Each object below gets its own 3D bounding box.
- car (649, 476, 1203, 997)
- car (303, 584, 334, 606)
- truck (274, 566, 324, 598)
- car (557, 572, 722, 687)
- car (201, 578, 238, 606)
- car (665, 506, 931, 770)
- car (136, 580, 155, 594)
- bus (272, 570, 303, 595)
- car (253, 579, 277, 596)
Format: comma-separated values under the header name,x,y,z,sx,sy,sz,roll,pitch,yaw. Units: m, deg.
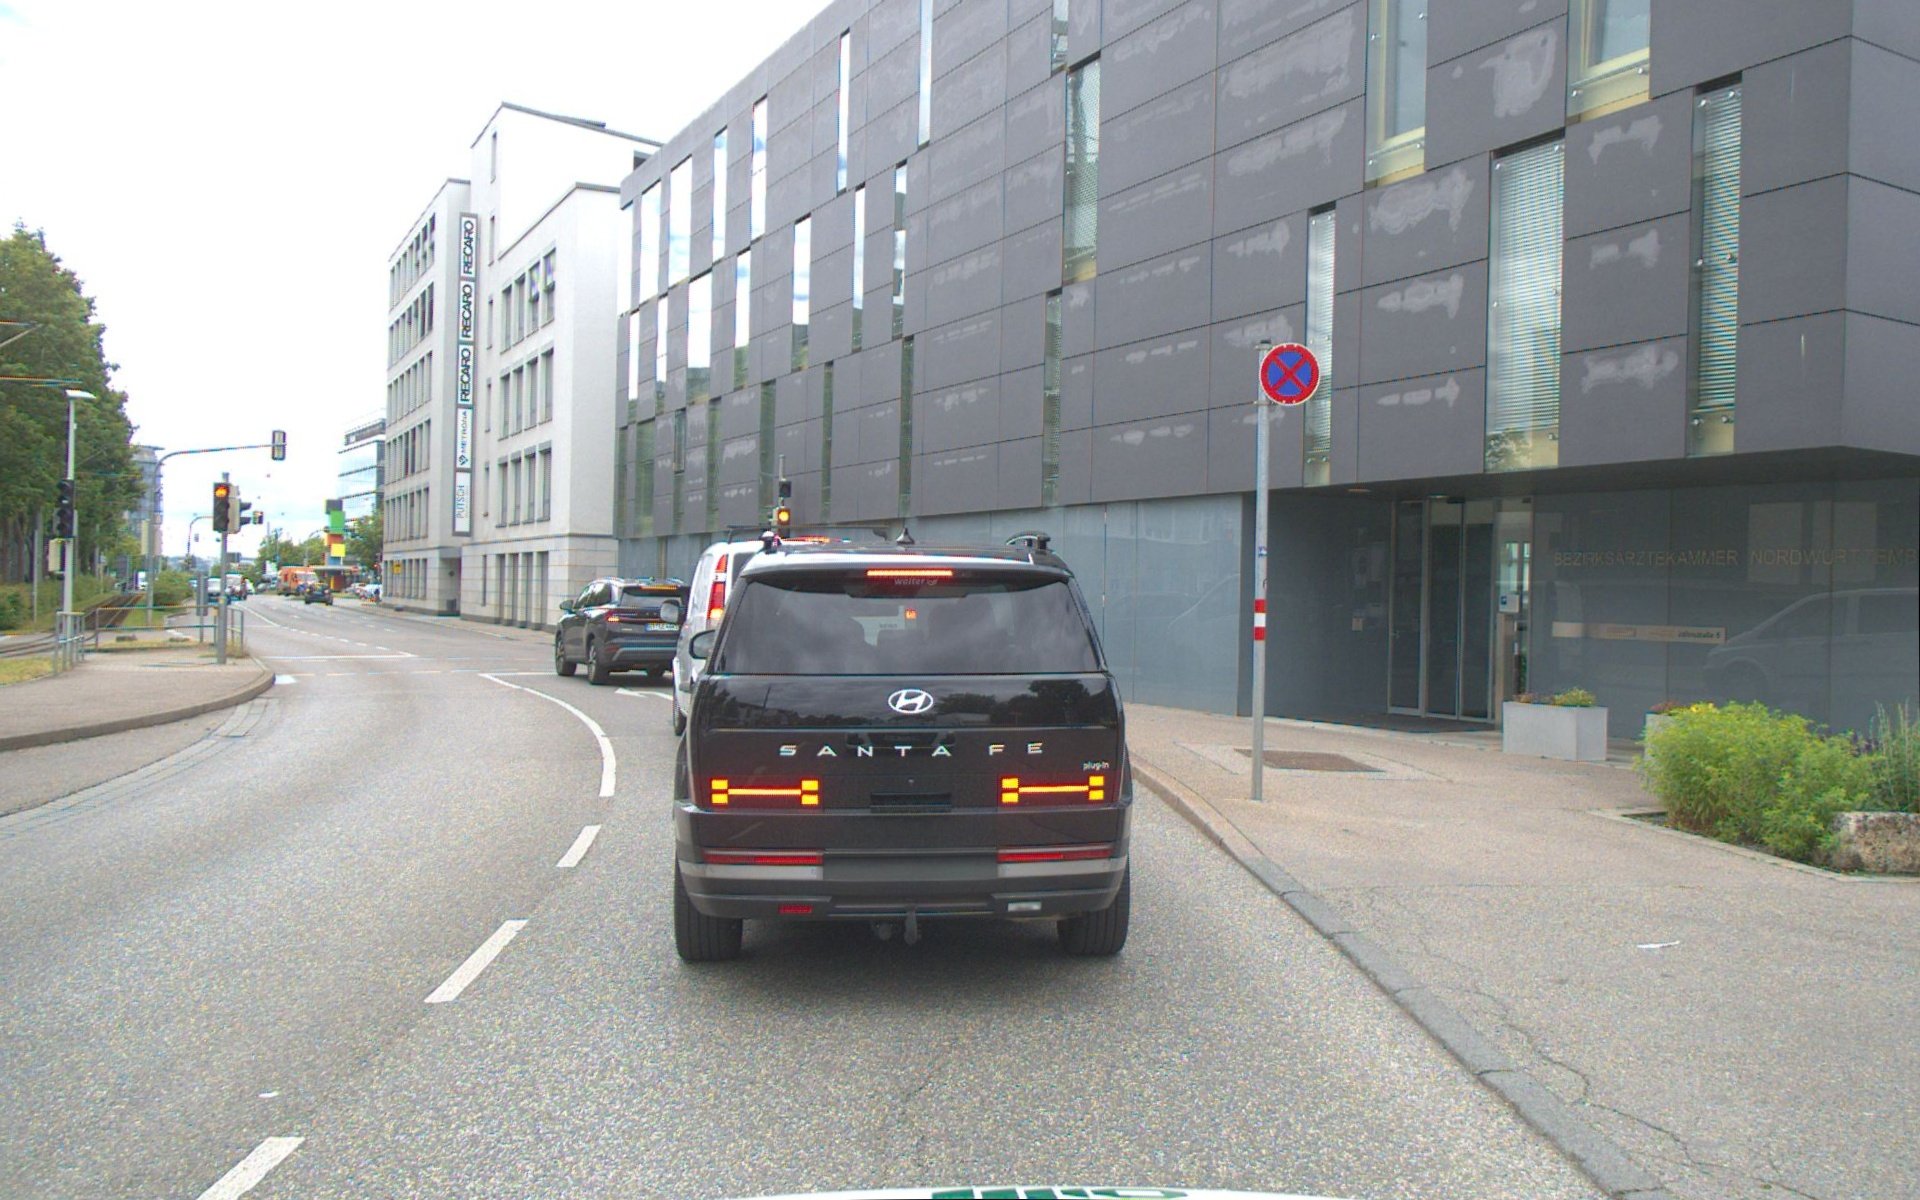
name,x,y,z,sx,sy,sz,roll,pitch,yaw
car,-0.242,0.480,7.900,1.877,1.755,4.167,3,0,-4
car,-46.123,-0.364,119.032,1.870,1.512,3.979,1,0,-19
truck,-61.354,-1.675,153.447,2.554,2.874,6.898,1,0,-37
car,-5.326,0.444,27.077,1.823,1.706,4.344,0,0,-23
car,-45.974,-0.511,102.665,1.831,1.725,3.963,1,0,-28
car,-1.656,0.283,15.363,1.824,2.069,4.421,1,0,-14
car,-107.525,-1.722,218.342,1.897,1.755,4.125,3,0,-32
bus,-90.261,-2.387,221.914,3.045,2.979,10.257,3,0,-26
car,-82.688,-1.490,196.794,1.897,1.755,4.125,3,0,-32
